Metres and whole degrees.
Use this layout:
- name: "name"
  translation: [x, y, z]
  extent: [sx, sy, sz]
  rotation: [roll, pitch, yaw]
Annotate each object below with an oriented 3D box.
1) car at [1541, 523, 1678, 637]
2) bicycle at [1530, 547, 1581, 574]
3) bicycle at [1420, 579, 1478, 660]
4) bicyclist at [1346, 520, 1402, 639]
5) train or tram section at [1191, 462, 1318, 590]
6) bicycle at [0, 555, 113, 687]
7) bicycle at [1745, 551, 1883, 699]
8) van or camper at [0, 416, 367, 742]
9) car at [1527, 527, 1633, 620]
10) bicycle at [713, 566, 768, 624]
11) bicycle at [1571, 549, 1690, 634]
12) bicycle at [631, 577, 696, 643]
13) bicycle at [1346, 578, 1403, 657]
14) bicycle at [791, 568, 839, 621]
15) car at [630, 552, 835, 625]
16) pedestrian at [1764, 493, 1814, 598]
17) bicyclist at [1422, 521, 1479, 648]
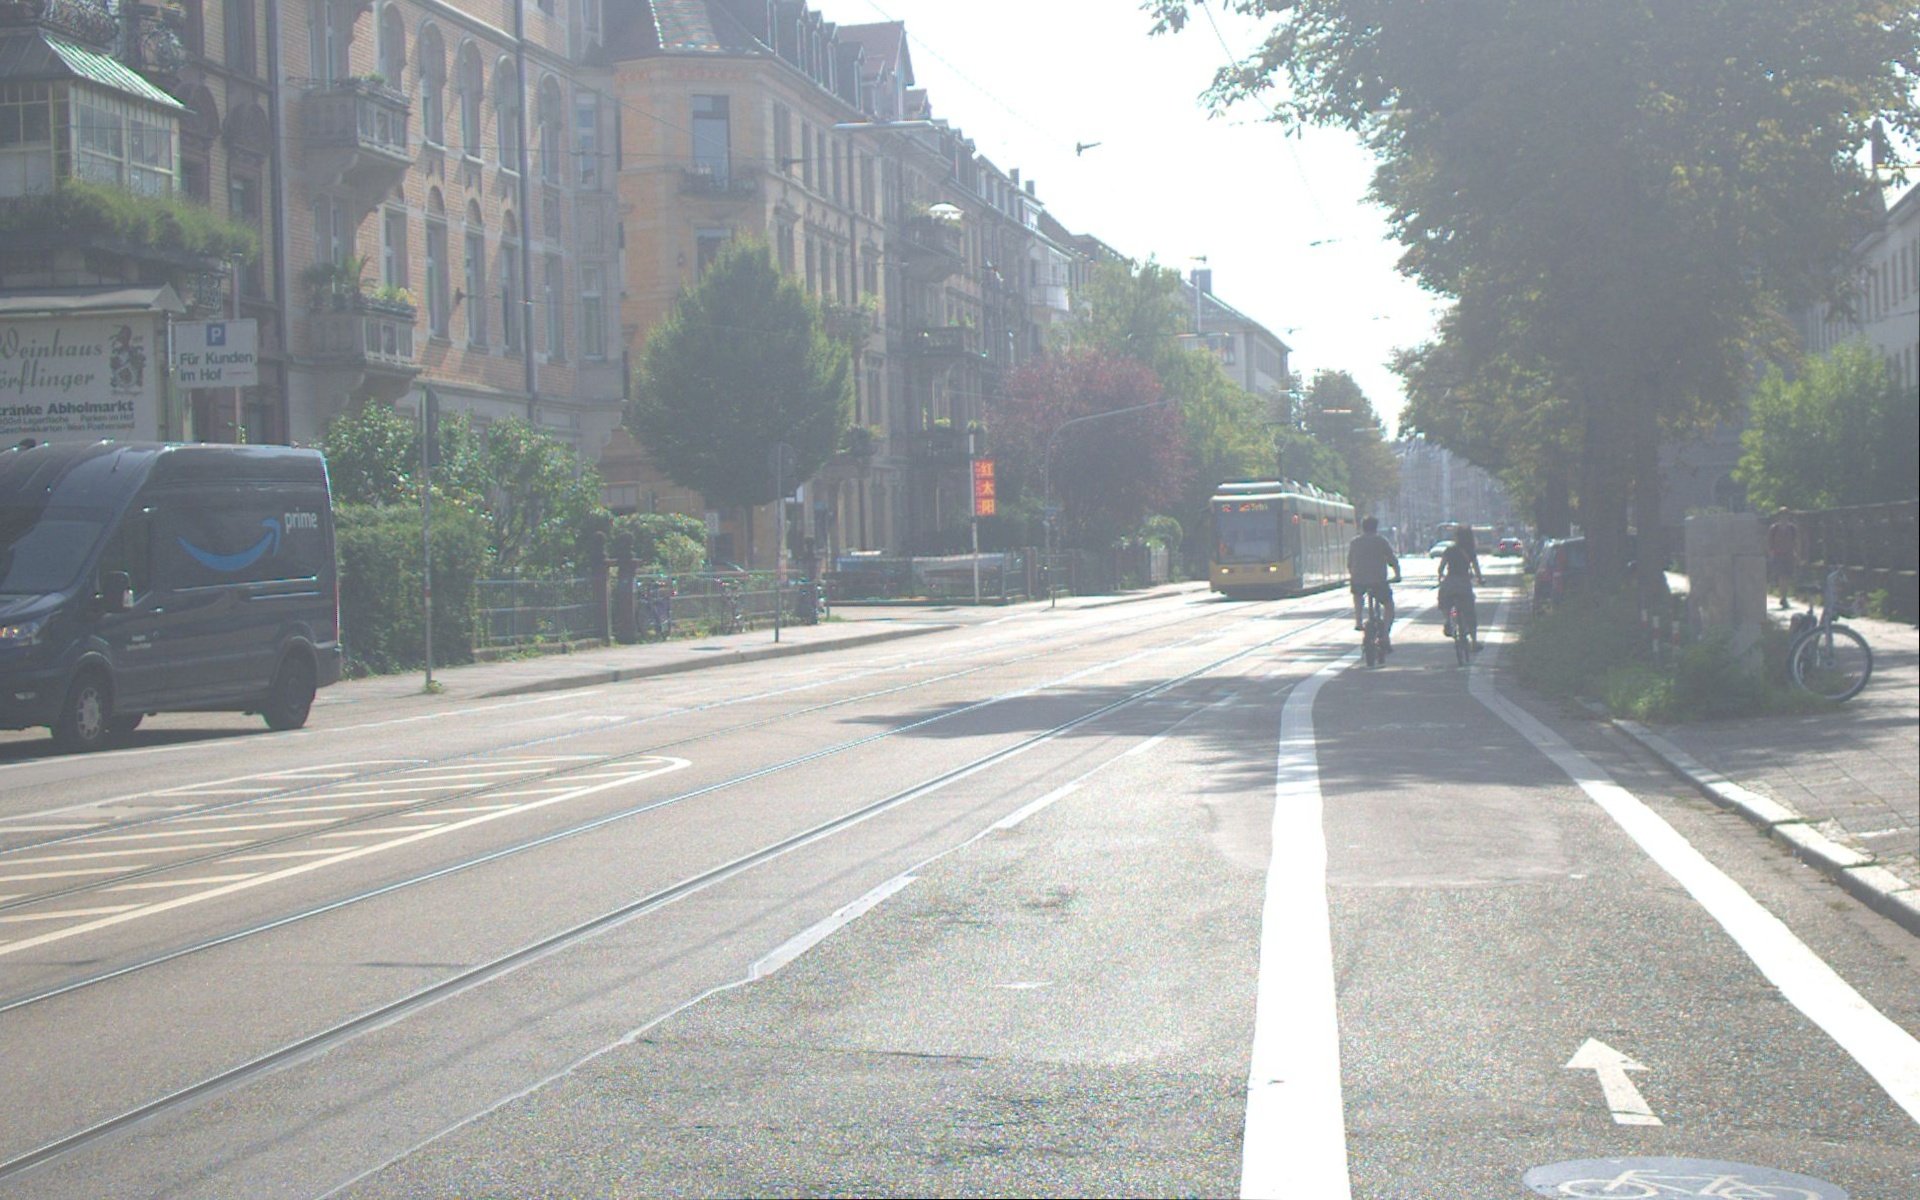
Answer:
- name: "car"
  translation: [9.713, -0.319, 51.234]
  extent: [1.646, 1.535, 3.839]
  rotation: [-3, 0, 15]
- name: "bicycle"
  translation: [25.900, -1.722, 149.447]
  extent: [2.107, 1.101, 0.563]
  rotation: [-2, 0, 3]
- name: "bicycle"
  translation: [5.767, 0.218, 40.486]
  extent: [0.654, 0.906, 1.774]
  rotation: [0, 1, 9]
- name: "bicyclist"
  translation: [4.917, -0.250, 40.809]
  extent: [0.626, 1.396, 0.929]
  rotation: [0, 1, 9]
- name: "train or tram section"
  translation: [8.995, -2.190, 103.396]
  extent: [2.735, 3.493, 15.428]
  rotation: [-1, 1, 9]
- name: "bicycle"
  translation: [-11.071, 0.232, 38.561]
  extent: [2.875, 1.450, 0.998]
  rotation: [-1, 1, 3]
- name: "bicycle"
  translation: [6.845, 0.177, 27.657]
  extent: [0.772, 1.100, 2.333]
  rotation: [-2, 1, 7]
- name: "van or camper"
  translation: [-7.688, -0.179, 31.066]
  extent: [2.052, 2.635, 6.085]
  rotation: [-2, 0, 16]
- name: "car"
  translation: [10.621, -0.467, 59.048]
  extent: [1.646, 1.443, 4.244]
  rotation: [-3, 0, 10]
- name: "bicycle"
  translation: [-4.125, -0.102, 64.678]
  extent: [0.545, 1.054, 1.839]
  rotation: [3, 1, 11]
- name: "bicycle"
  translation: [8.760, -0.113, 44.916]
  extent: [1.723, 1.069, 0.525]
  rotation: [-2, 1, -39]
- name: "bicycle"
  translation: [-5.066, 0.163, 58.824]
  extent: [0.607, 1.054, 1.839]
  rotation: [3, 1, 11]
- name: "bicycle"
  translation: [4.923, 0.201, 40.804]
  extent: [0.626, 0.906, 1.524]
  rotation: [0, 1, 9]
- name: "bicycle"
  translation: [-3.016, -0.129, 71.614]
  extent: [0.545, 1.054, 1.839]
  rotation: [3, 1, 11]
- name: "car"
  translation: [-4.967, -0.245, 75.451]
  extent: [4.138, 1.538, 2.064]
  rotation: [-1, 0, 9]
- name: "pedestrian"
  translation: [14.044, -0.925, 58.223]
  extent: [0.753, 1.743, 0.877]
  rotation: [-1, 1, 16]
- name: "bicyclist"
  translation: [5.775, -0.185, 40.464]
  extent: [0.654, 1.469, 0.908]
  rotation: [0, 1, 9]
